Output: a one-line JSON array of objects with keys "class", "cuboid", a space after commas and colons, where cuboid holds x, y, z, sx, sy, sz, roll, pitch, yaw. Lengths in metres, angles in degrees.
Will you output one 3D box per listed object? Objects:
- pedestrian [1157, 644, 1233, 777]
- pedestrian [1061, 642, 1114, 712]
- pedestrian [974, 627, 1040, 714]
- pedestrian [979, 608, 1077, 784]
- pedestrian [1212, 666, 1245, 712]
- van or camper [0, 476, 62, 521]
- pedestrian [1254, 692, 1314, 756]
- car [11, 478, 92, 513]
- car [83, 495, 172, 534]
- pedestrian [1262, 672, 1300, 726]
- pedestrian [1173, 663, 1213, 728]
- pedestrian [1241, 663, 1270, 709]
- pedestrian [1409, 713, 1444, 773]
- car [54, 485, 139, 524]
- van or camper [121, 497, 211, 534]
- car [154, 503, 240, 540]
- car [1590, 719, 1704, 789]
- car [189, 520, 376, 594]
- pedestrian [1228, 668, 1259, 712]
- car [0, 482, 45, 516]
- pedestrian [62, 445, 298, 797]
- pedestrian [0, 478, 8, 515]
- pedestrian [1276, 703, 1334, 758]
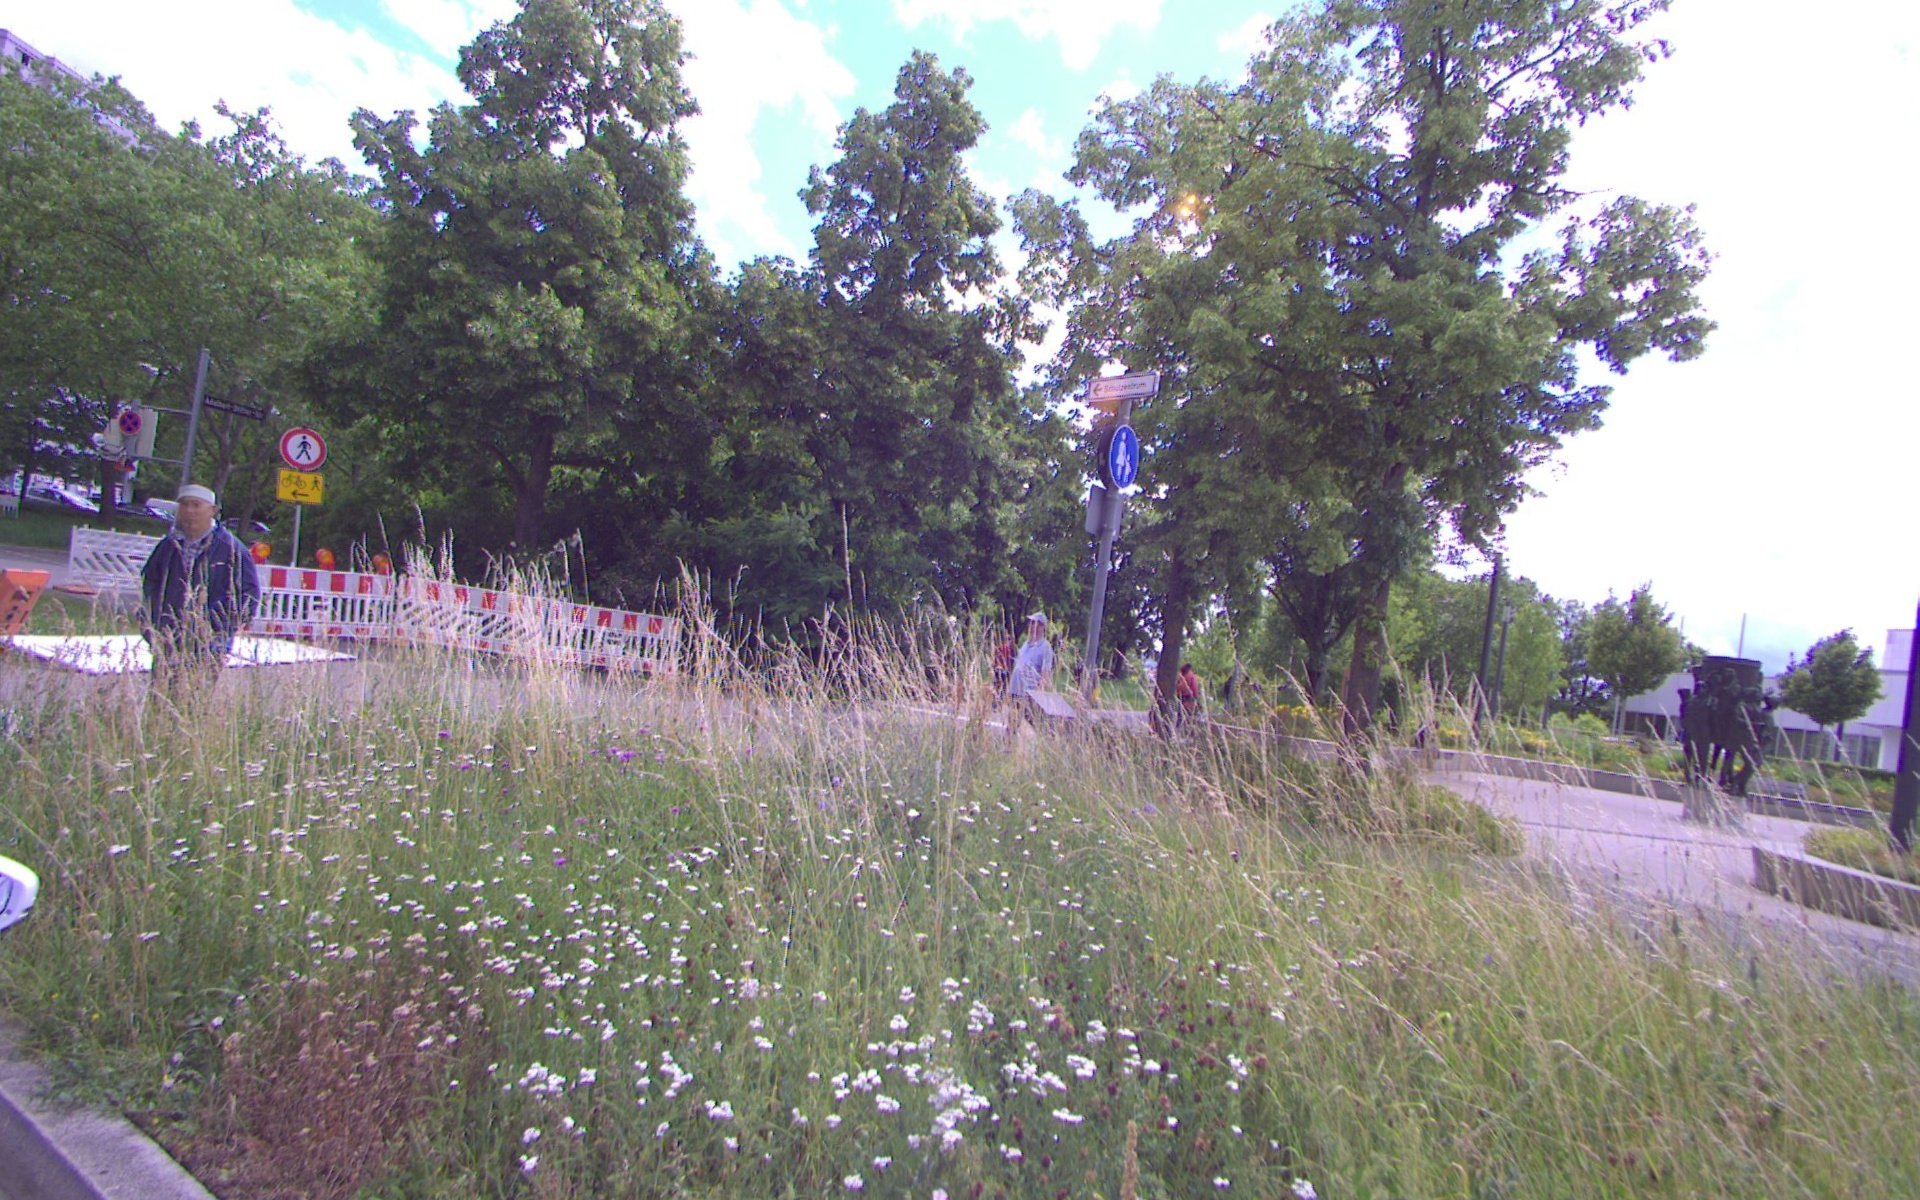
[{"class": "pedestrian", "cuboid": [3.280, 1.525, 14.020, 0.685, 1.715, 0.651, 7, 0, 28]}, {"class": "pedestrian", "cuboid": [3.309, 1.986, 26.056, 0.974, 1.671, 0.871, 7, 0, 21]}, {"class": "pedestrian", "cuboid": [0.996, 1.472, 21.111, 0.974, 1.671, 0.871, 7, 0, 21]}, {"class": "pedestrian", "cuboid": [0.745, 1.041, 11.175, 0.682, 1.812, 0.727, 8, 0, -13]}, {"class": "pedestrian", "cuboid": [10.499, 3.477, 39.329, 0.974, 1.671, 0.871, 7, 0, 21]}, {"class": "van or camper", "cuboid": [-44.316, -4.846, 46.504, 3.925, 1.704, 1.847, 8, -1, 4]}, {"class": "pedestrian", "cuboid": [5.084, 1.934, 15.782, 0.685, 0.874, 0.651, 7, 0, 28]}, {"class": "car", "cuboid": [-54.451, -6.247, 60.332, 3.345, 1.420, 1.486, 7, -2, 1]}, {"class": "car", "cuboid": [-43.780, -4.493, 52.945, 3.345, 1.420, 1.486, 7, -2, 2]}, {"class": "pedestrian", "cuboid": [10.817, 3.314, 33.918, 0.974, 1.671, 0.871, 7, 0, 21]}, {"class": "pedestrian", "cuboid": [5.813, 2.375, 25.098, 0.624, 1.519, 0.704, 7, 0, 29]}, {"class": "pedestrian", "cuboid": [14.046, 4.082, 47.815, 1.026, 2.037, 1.099, 8, -1, 19]}, {"class": "pedestrian", "cuboid": [10.757, 3.281, 23.195, 0.560, 1.277, 0.582, 7, -1, 29]}, {"class": "car", "cuboid": [-54.470, -5.989, 63.465, 3.751, 1.653, 1.674, 9, -1, 1]}, {"class": "van or camper", "cuboid": [-44.564, -4.731, 56.497, 3.706, 1.372, 1.519, 8, -2, -1]}, {"class": "car", "cuboid": [-44.645, -4.596, 58.903, 3.820, 1.482, 1.486, 7, -1, 1]}, {"class": "car", "cuboid": [22.777, 5.070, 33.485, 1.606, 1.786, 3.509, 7, -2, 9]}, {"class": "car", "cuboid": [-21.060, -1.290, 31.463, 1.744, 1.604, 4.405, 6, -2, 33]}, {"class": "pedestrian", "cuboid": [11.839, 3.759, 41.971, 0.974, 1.671, 0.871, 7, 0, 21]}, {"class": "car", "cuboid": [-50.191, -5.426, 52.364, 1.456, 1.462, 3.413, 7, -2, 14]}, {"class": "pedestrian", "cuboid": [-4.330, 0.121, 5.672, 0.720, 1.761, 0.949, 8, -1, -29]}, {"class": "pedestrian", "cuboid": [-54.205, -5.856, 56.364, 0.838, 2.025, 0.806, 7, -1, 27]}, {"class": "pedestrian", "cuboid": [7.131, 2.690, 20.814, 0.703, 0.959, 0.747, 8, -1, -21]}]
